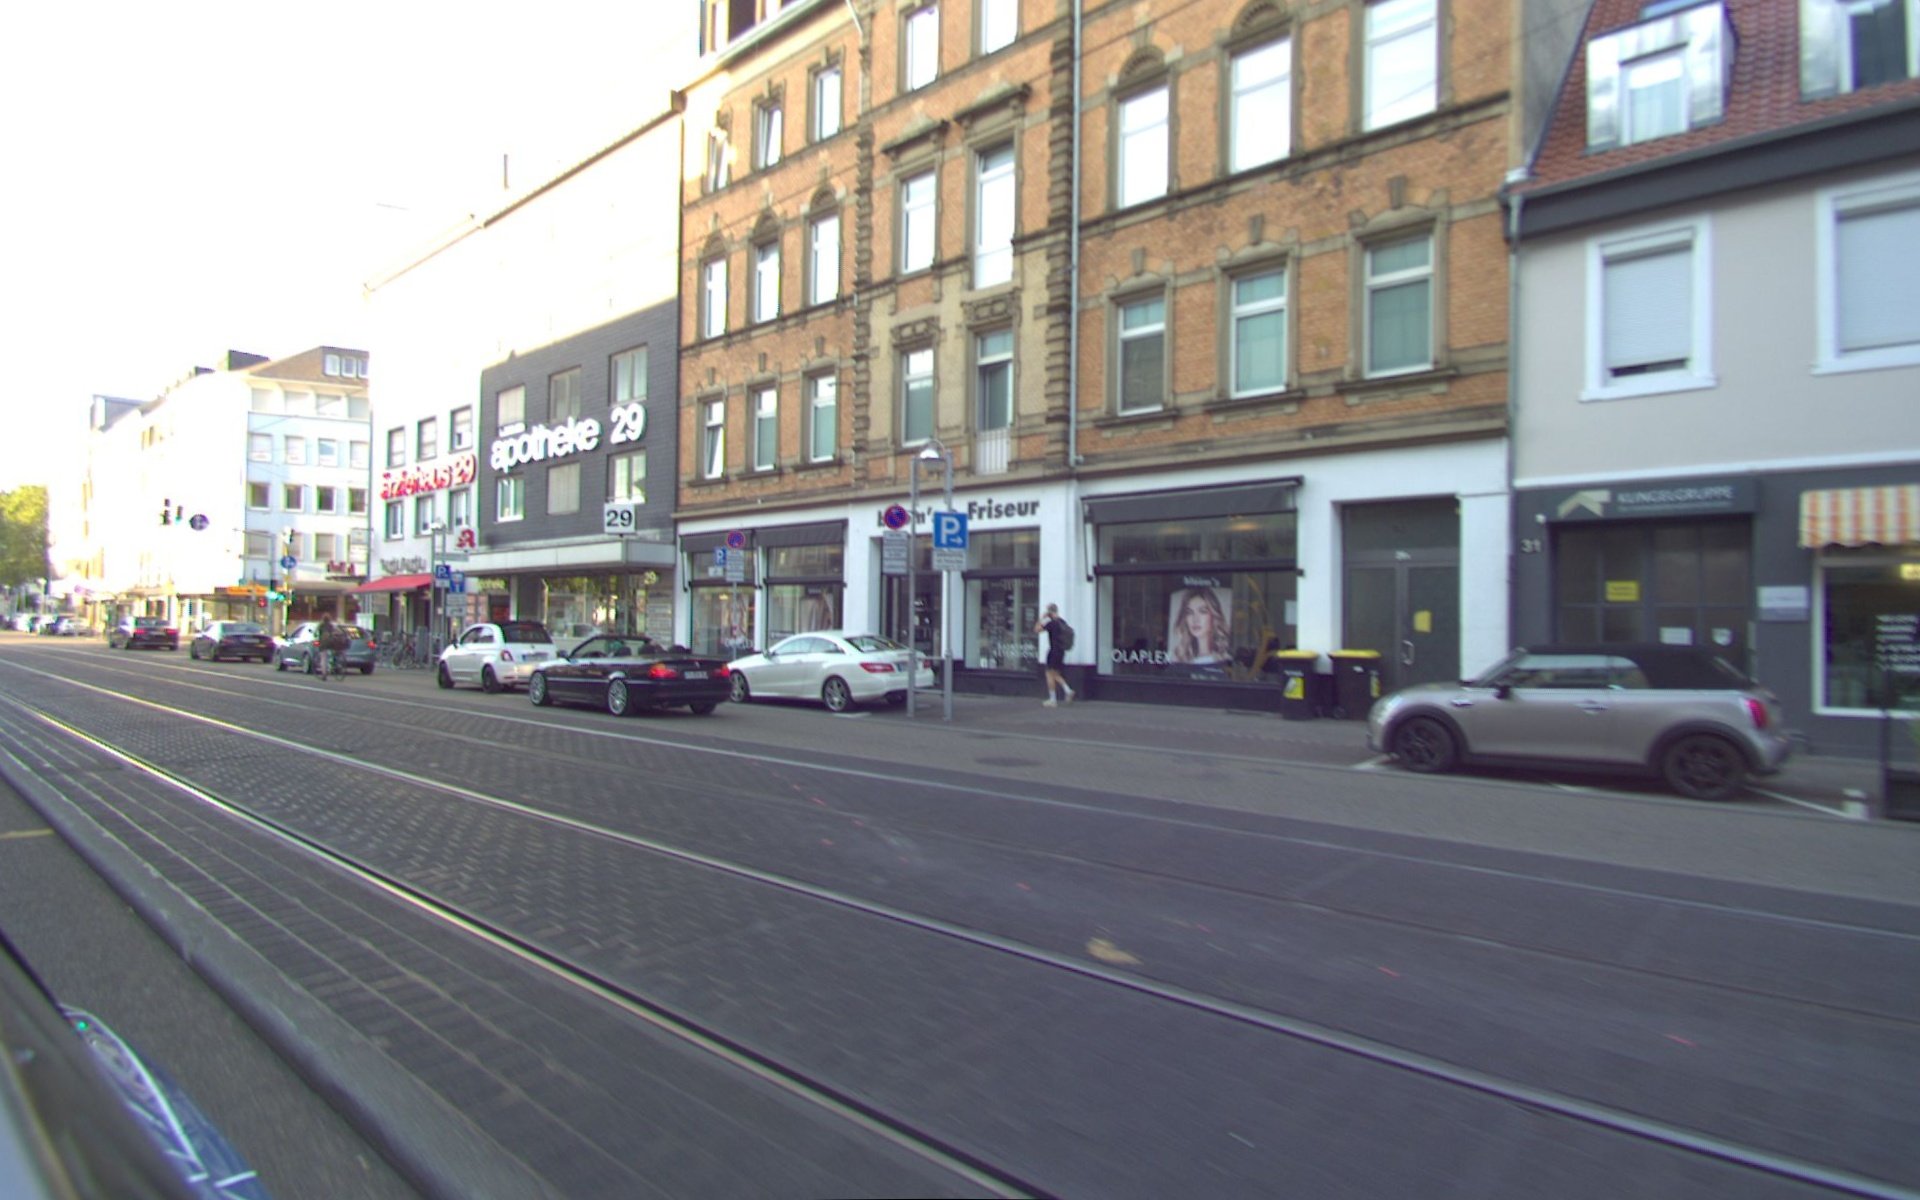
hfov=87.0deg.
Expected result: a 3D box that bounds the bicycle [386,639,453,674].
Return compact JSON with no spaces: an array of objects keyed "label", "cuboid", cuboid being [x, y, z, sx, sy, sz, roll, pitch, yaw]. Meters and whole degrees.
[{"label":"bicycle","cuboid":[-17.326,1.795,32.463,0.492,0.991,1.836,-1,1,41]}]

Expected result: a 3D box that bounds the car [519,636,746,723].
[{"label":"car","cuboid":[-5.577,1.273,16.986,4.272,1.237,1.649,-1,-4,42]}]

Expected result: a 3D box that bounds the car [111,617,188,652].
[{"label":"car","cuboid":[-35.384,1.475,44.152,4.563,1.397,1.894,-1,-4,43]}]

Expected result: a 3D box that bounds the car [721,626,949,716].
[{"label":"car","cuboid":[-2.399,1.227,18.769,4.270,1.400,1.741,-1,0,40]}]

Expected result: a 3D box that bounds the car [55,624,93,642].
[{"label":"car","cuboid":[-64.821,2.395,74.025,4.001,1.304,1.822,-1,-2,44]}]

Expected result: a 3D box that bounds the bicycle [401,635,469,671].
[{"label":"bicycle","cuboid":[-16.384,1.640,31.612,0.462,0.991,1.836,-1,1,41]}]

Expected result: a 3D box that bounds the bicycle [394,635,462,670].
[{"label":"bicycle","cuboid":[-16.770,1.642,31.954,0.462,0.991,1.836,-1,1,41]}]

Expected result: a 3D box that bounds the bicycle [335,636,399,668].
[{"label":"bicycle","cuboid":[-20.983,1.835,35.823,0.607,0.991,1.836,-1,1,41]}]

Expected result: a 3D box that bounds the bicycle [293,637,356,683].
[{"label":"bicycle","cuboid":[-15.450,1.429,24.584,2.080,1.042,0.686,-1,-2,41]}]

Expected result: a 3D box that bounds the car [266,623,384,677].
[{"label":"car","cuboid":[-18.078,1.398,28.747,4.060,1.397,1.739,-1,-4,42]}]

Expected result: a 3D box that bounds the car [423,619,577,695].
[{"label":"car","cuboid":[-10.095,1.212,22.124,3.679,1.517,1.649,-1,-4,42]}]

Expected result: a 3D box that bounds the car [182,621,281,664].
[{"label":"car","cuboid":[-25.707,1.486,35.666,4.563,1.397,1.894,-1,-4,43]}]

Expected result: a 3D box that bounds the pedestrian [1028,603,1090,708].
[{"label":"pedestrian","cuboid":[1.737,0.955,17.828,0.855,1.786,0.641,-1,-1,42]}]

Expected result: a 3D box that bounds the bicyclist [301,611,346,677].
[{"label":"bicyclist","cuboid":[-15.493,1.057,24.629,0.798,1.577,0.686,-1,-2,40]}]

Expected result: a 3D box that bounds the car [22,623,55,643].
[{"label":"car","cuboid":[-78.769,2.803,86.514,4.001,1.647,1.822,-1,-2,44]}]

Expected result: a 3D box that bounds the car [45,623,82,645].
[{"label":"car","cuboid":[-68.286,2.567,77.070,4.001,1.647,1.822,-1,-2,44]}]

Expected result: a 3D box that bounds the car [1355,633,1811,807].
[{"label":"car","cuboid":[6.455,1.102,10.723,3.864,1.400,1.715,-1,0,42]}]

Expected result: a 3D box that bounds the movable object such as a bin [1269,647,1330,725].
[{"label":"movable object such as a bin","cuboid":[5.237,1.307,15.601,0.728,1.140,0.584,-1,-3,42]}]

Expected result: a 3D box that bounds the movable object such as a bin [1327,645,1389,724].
[{"label":"movable object such as a bin","cuboid":[6.065,1.270,15.424,0.728,1.140,0.584,-1,-3,42]}]

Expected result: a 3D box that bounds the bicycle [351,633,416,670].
[{"label":"bicycle","cuboid":[-19.876,1.748,34.933,0.607,1.143,1.836,-1,1,41]}]
